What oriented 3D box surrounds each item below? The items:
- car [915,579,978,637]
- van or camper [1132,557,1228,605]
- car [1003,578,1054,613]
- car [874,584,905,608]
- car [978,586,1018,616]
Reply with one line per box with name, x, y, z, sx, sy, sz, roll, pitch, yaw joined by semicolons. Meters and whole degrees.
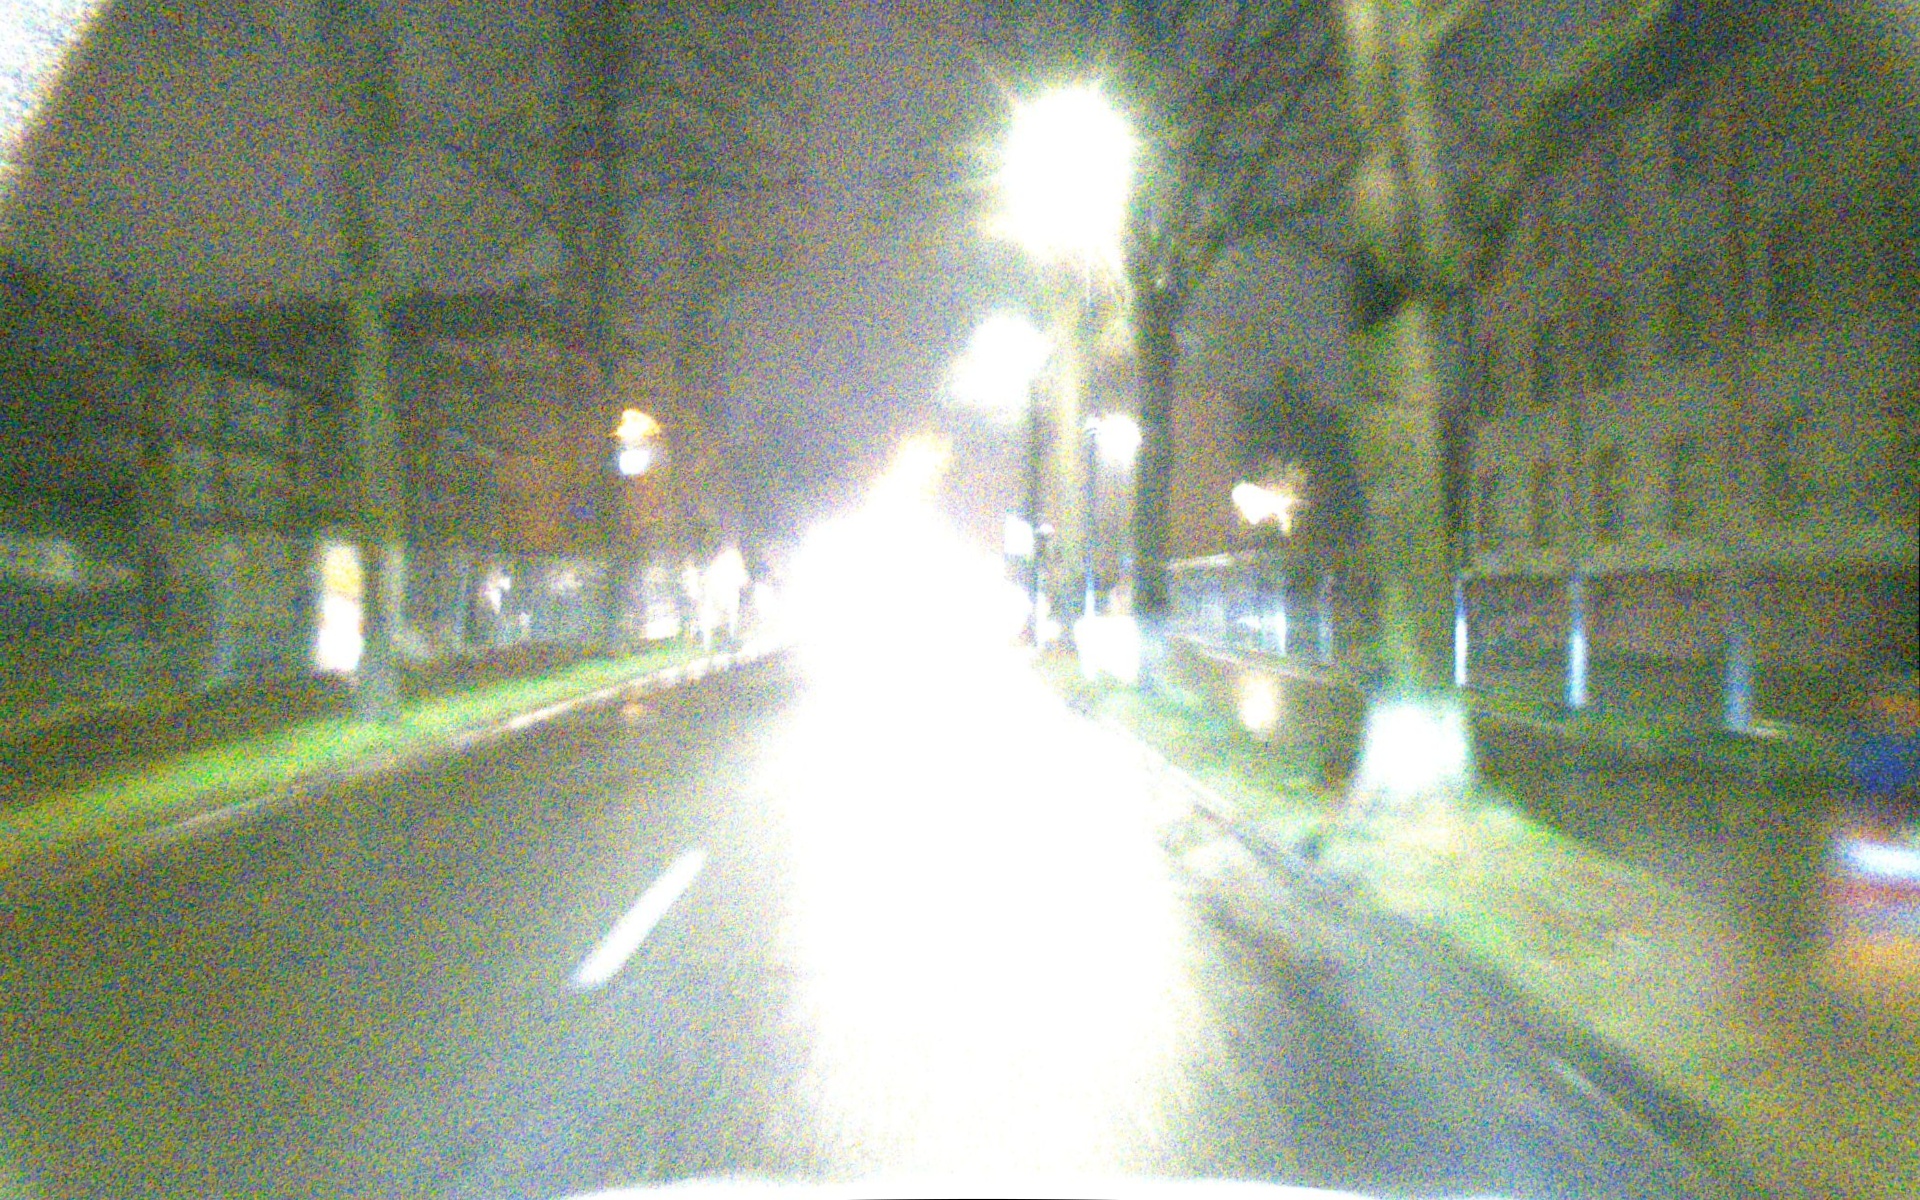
car;-0.452;0.232;53.238;1.953;1.713;4.000;0;2;-1
van or camper;11.973;-1.044;90.310;4.959;2.571;2.171;-1;1;-1
car;3.061;-0.232;75.102;1.754;1.474;4.787;-2;1;-4
car;-4.345;-0.260;102.667;1.709;1.458;4.000;-1;1;0
car;1.949;0.021;86.156;1.679;1.515;4.433;-1;1;-4
